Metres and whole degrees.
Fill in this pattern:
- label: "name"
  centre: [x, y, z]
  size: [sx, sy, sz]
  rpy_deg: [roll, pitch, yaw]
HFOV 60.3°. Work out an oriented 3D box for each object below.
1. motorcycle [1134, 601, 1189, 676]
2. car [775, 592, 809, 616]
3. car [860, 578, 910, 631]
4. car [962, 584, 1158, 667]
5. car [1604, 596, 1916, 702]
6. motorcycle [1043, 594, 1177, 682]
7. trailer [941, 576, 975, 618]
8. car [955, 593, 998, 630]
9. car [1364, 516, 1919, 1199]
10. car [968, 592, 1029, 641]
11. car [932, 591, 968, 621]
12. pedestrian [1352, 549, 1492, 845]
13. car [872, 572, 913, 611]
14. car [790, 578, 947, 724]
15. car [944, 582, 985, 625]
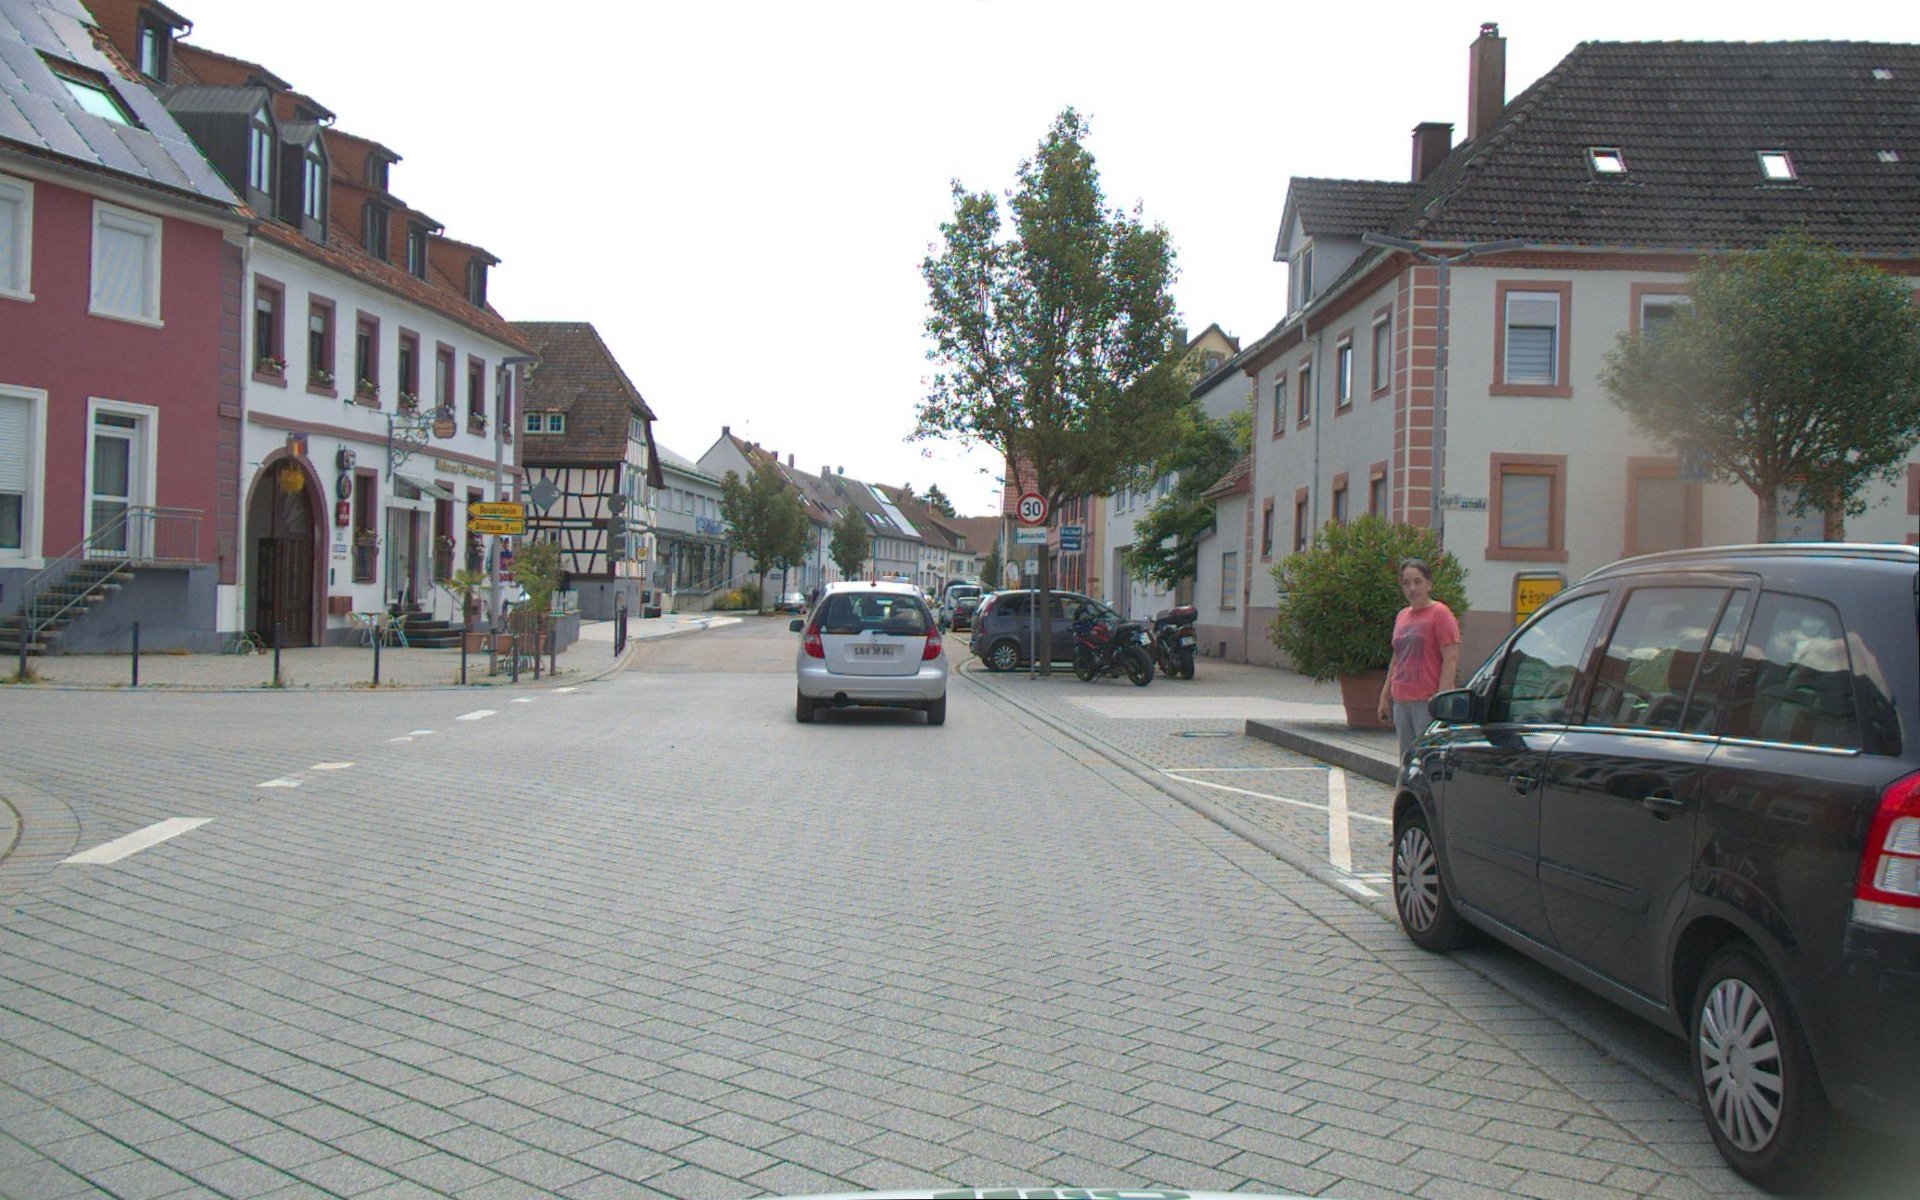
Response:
- label: "motorcycle"
  centre: [3.719, 0.688, 30.663]
  size: [0.939, 1.321, 2.227]
  rpy_deg: [-1, 0, 6]
- label: "car"
  centre: [-11.011, 0.220, 108.512]
  size: [1.767, 1.486, 4.158]
  rpy_deg: [2, 0, 0]
- label: "car"
  centre: [-2.968, 0.187, 66.194]
  size: [1.733, 1.920, 4.446]
  rpy_deg: [4, 0, -1]
- label: "car"
  centre: [2.013, 0.500, 33.904]
  size: [3.774, 1.605, 1.848]
  rpy_deg: [0, 0, -6]
- label: "car"
  centre: [12.204, 0.723, 25.437]
  size: [3.909, 1.499, 1.826]
  rpy_deg: [1, 0, 3]
- label: "motorcycle"
  centre: [2.547, 0.620, 28.265]
  size: [2.185, 1.419, 0.868]
  rpy_deg: [1, 0, 41]
- label: "trailer"
  centre: [-0.118, -0.181, 96.219]
  size: [1.808, 2.395, 3.588]
  rpy_deg: [1, 0, -2]
- label: "car"
  centre: [0.697, 0.486, 73.264]
  size: [1.739, 1.521, 4.160]
  rpy_deg: [1, 0, -2]
- label: "car"
  centre: [2.787, 0.597, 5.594]
  size: [1.733, 1.592, 4.418]
  rpy_deg: [-1, 0, 0]
- label: "car"
  centre: [1.369, 0.566, 60.588]
  size: [1.953, 1.710, 4.321]
  rpy_deg: [1, 0, -2]
- label: "car"
  centre: [-0.555, 0.302, 90.739]
  size: [1.837, 1.507, 4.673]
  rpy_deg: [2, 0, -2]
- label: "pedestrian"
  centre: [2.680, 0.547, 9.645]
  size: [0.625, 1.657, 0.620]
  rpy_deg: [1, 0, 1]
- label: "car"
  centre: [-4.103, -0.498, 101.327]
  size: [2.189, 2.261, 4.001]
  rpy_deg: [0, -1, 2]
- label: "car"
  centre: [-1.126, 0.548, 20.322]
  size: [1.734, 1.622, 3.998]
  rpy_deg: [0, 0, -3]
- label: "car"
  centre: [0.184, 0.142, 81.457]
  size: [1.854, 2.017, 4.929]
  rpy_deg: [-1, 0, -2]
